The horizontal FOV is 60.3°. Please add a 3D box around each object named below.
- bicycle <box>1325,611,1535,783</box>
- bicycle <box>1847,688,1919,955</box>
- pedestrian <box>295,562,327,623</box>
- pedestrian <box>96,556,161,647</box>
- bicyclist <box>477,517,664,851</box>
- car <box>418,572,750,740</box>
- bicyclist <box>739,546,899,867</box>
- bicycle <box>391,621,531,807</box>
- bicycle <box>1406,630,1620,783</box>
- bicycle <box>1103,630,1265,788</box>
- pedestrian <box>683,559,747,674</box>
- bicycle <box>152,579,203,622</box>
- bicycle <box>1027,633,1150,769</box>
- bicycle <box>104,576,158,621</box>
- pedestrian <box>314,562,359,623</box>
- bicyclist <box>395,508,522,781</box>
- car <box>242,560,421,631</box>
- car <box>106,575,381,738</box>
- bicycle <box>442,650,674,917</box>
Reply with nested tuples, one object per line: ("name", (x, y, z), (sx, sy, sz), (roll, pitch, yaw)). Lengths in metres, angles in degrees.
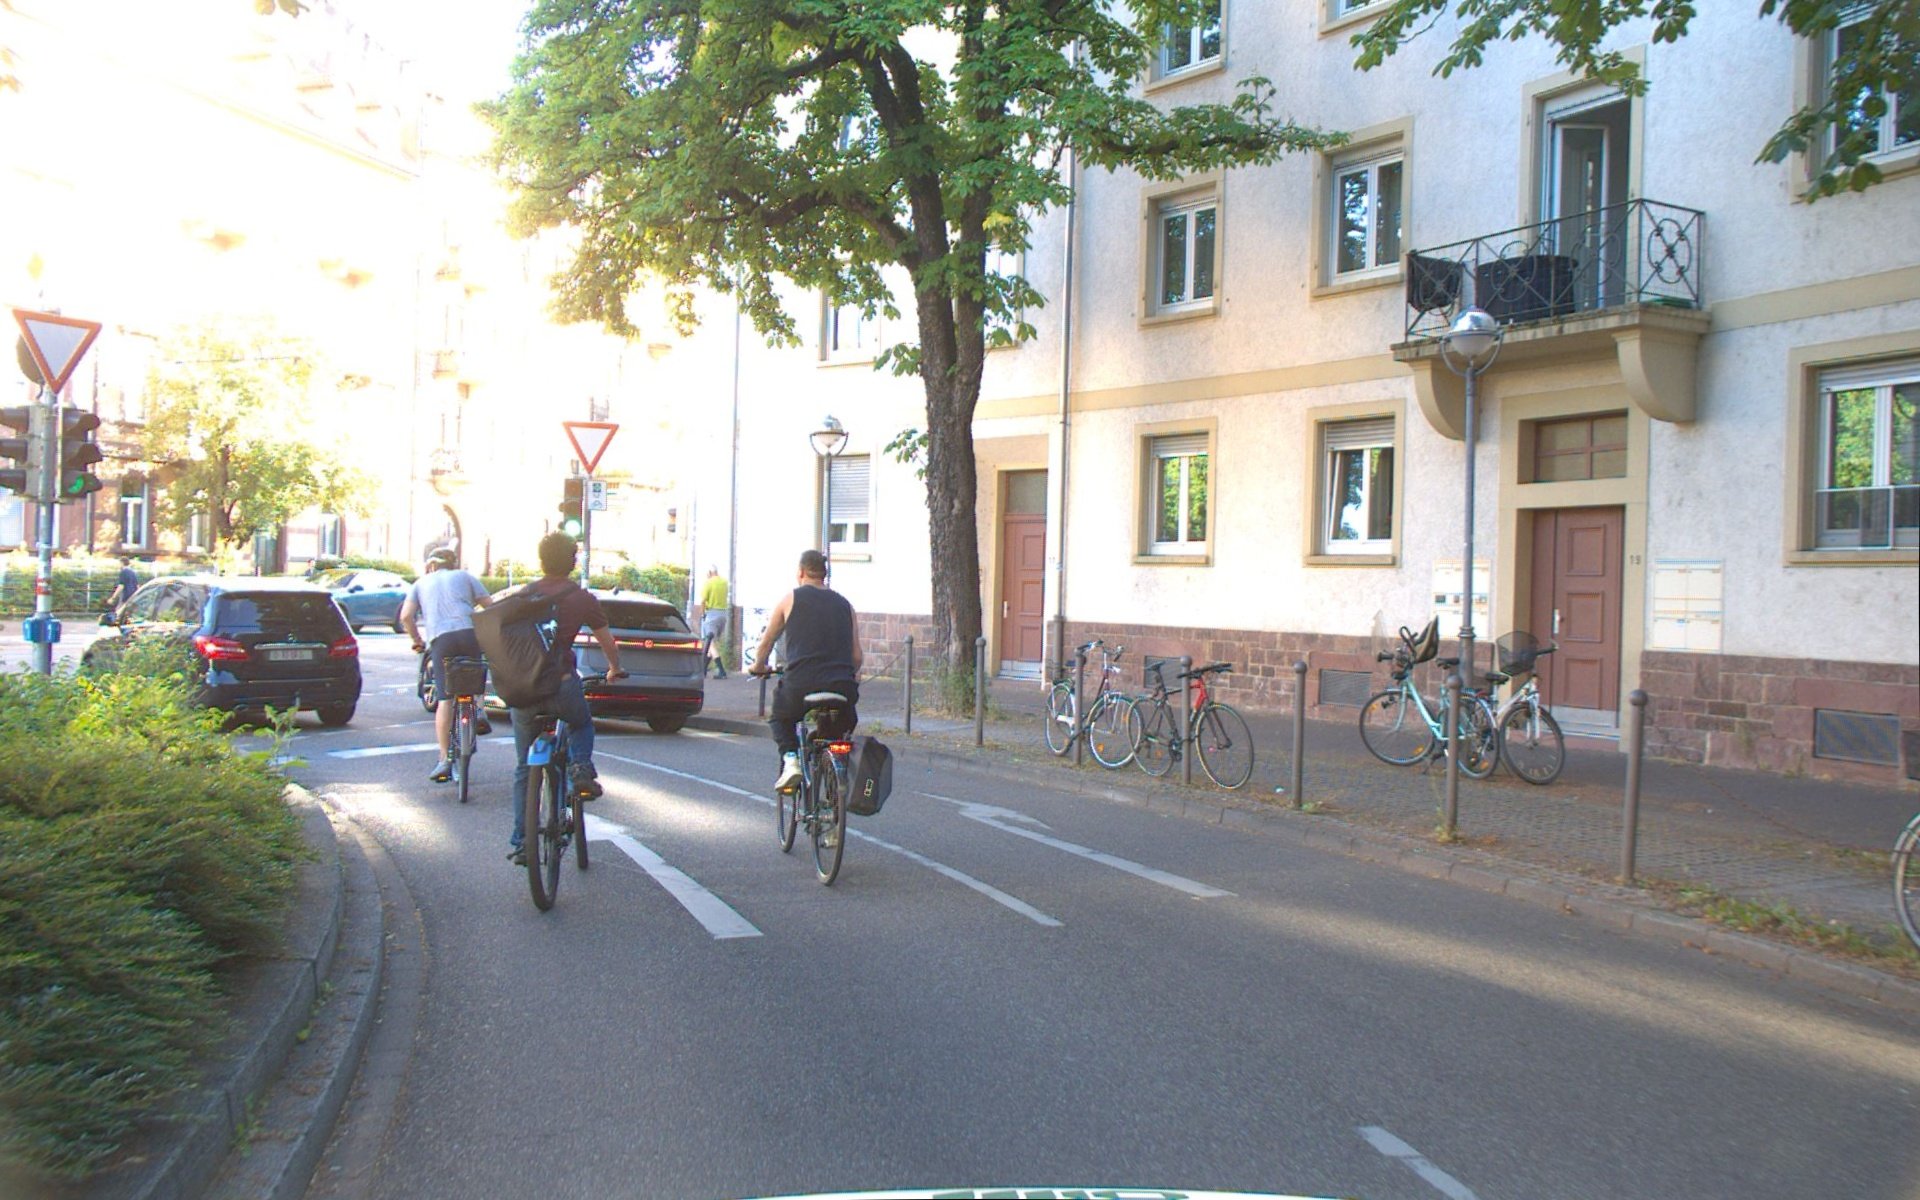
("bicycle", (3.891, 0.760, 13.877), (0.706, 1.299, 1.956), (0, 1, -19))
("bicycle", (4.542, 0.970, 6.603), (0.505, 1.115, 1.963), (0, 0, -18))
("pedestrian", (-18.918, -0.212, 48.224), (0.510, 1.745, 0.635), (2, 0, 31))
("pedestrian", (-15.968, 0.023, 31.779), (0.886, 1.663, 0.723), (4, 0, -14))
("bicyclist", (-1.977, 0.408, 8.514), (0.692, 1.601, 0.957), (2, 0, -1))
("car", (-4.405, 0.582, 18.880), (1.956, 1.613, 4.414), (4, -1, -38))
("bicyclist", (-0.806, 0.554, 9.248), (0.676, 1.685, 0.984), (0, 0, -18))
("bicycle", (-3.769, 0.793, 12.364), (0.798, 1.205, 2.212), (2, 0, -21))
("bicycle", (4.588, 0.857, 13.883), (0.657, 1.126, 1.957), (2, 0, -18))
("bicycle", (1.796, 0.850, 13.518), (0.518, 1.126, 1.729), (-1, 2, -22))
("pedestrian", (-3.846, 0.246, 25.958), (0.638, 1.757, 0.876), (-2, 2, -38))
("bicycle", (-21.030, 0.015, 44.449), (0.433, 1.126, 1.233), (2, 0, 24))
("bicycle", (1.142, 0.885, 15.032), (0.473, 1.082, 1.626), (-1, 2, -20))
("bicycle", (-21.622, -0.035, 43.154), (0.433, 1.126, 1.233), (2, 1, 24))
("pedestrian", (-17.825, -0.213, 47.310), (0.698, 1.693, 0.895), (5, 2, 35))
("bicyclist", (-3.773, 0.324, 12.403), (0.783, 1.947, 0.939), (2, 0, -21))
("car", (-16.012, -0.112, 42.378), (1.902, 1.679, 4.412), (2, 0, 18))
("car", (-7.865, 0.517, 17.990), (1.778, 1.569, 3.805), (-1, 1, -39))
("bicycle", (-1.995, 0.862, 8.500), (0.702, 1.126, 1.966), (2, 0, -1))
